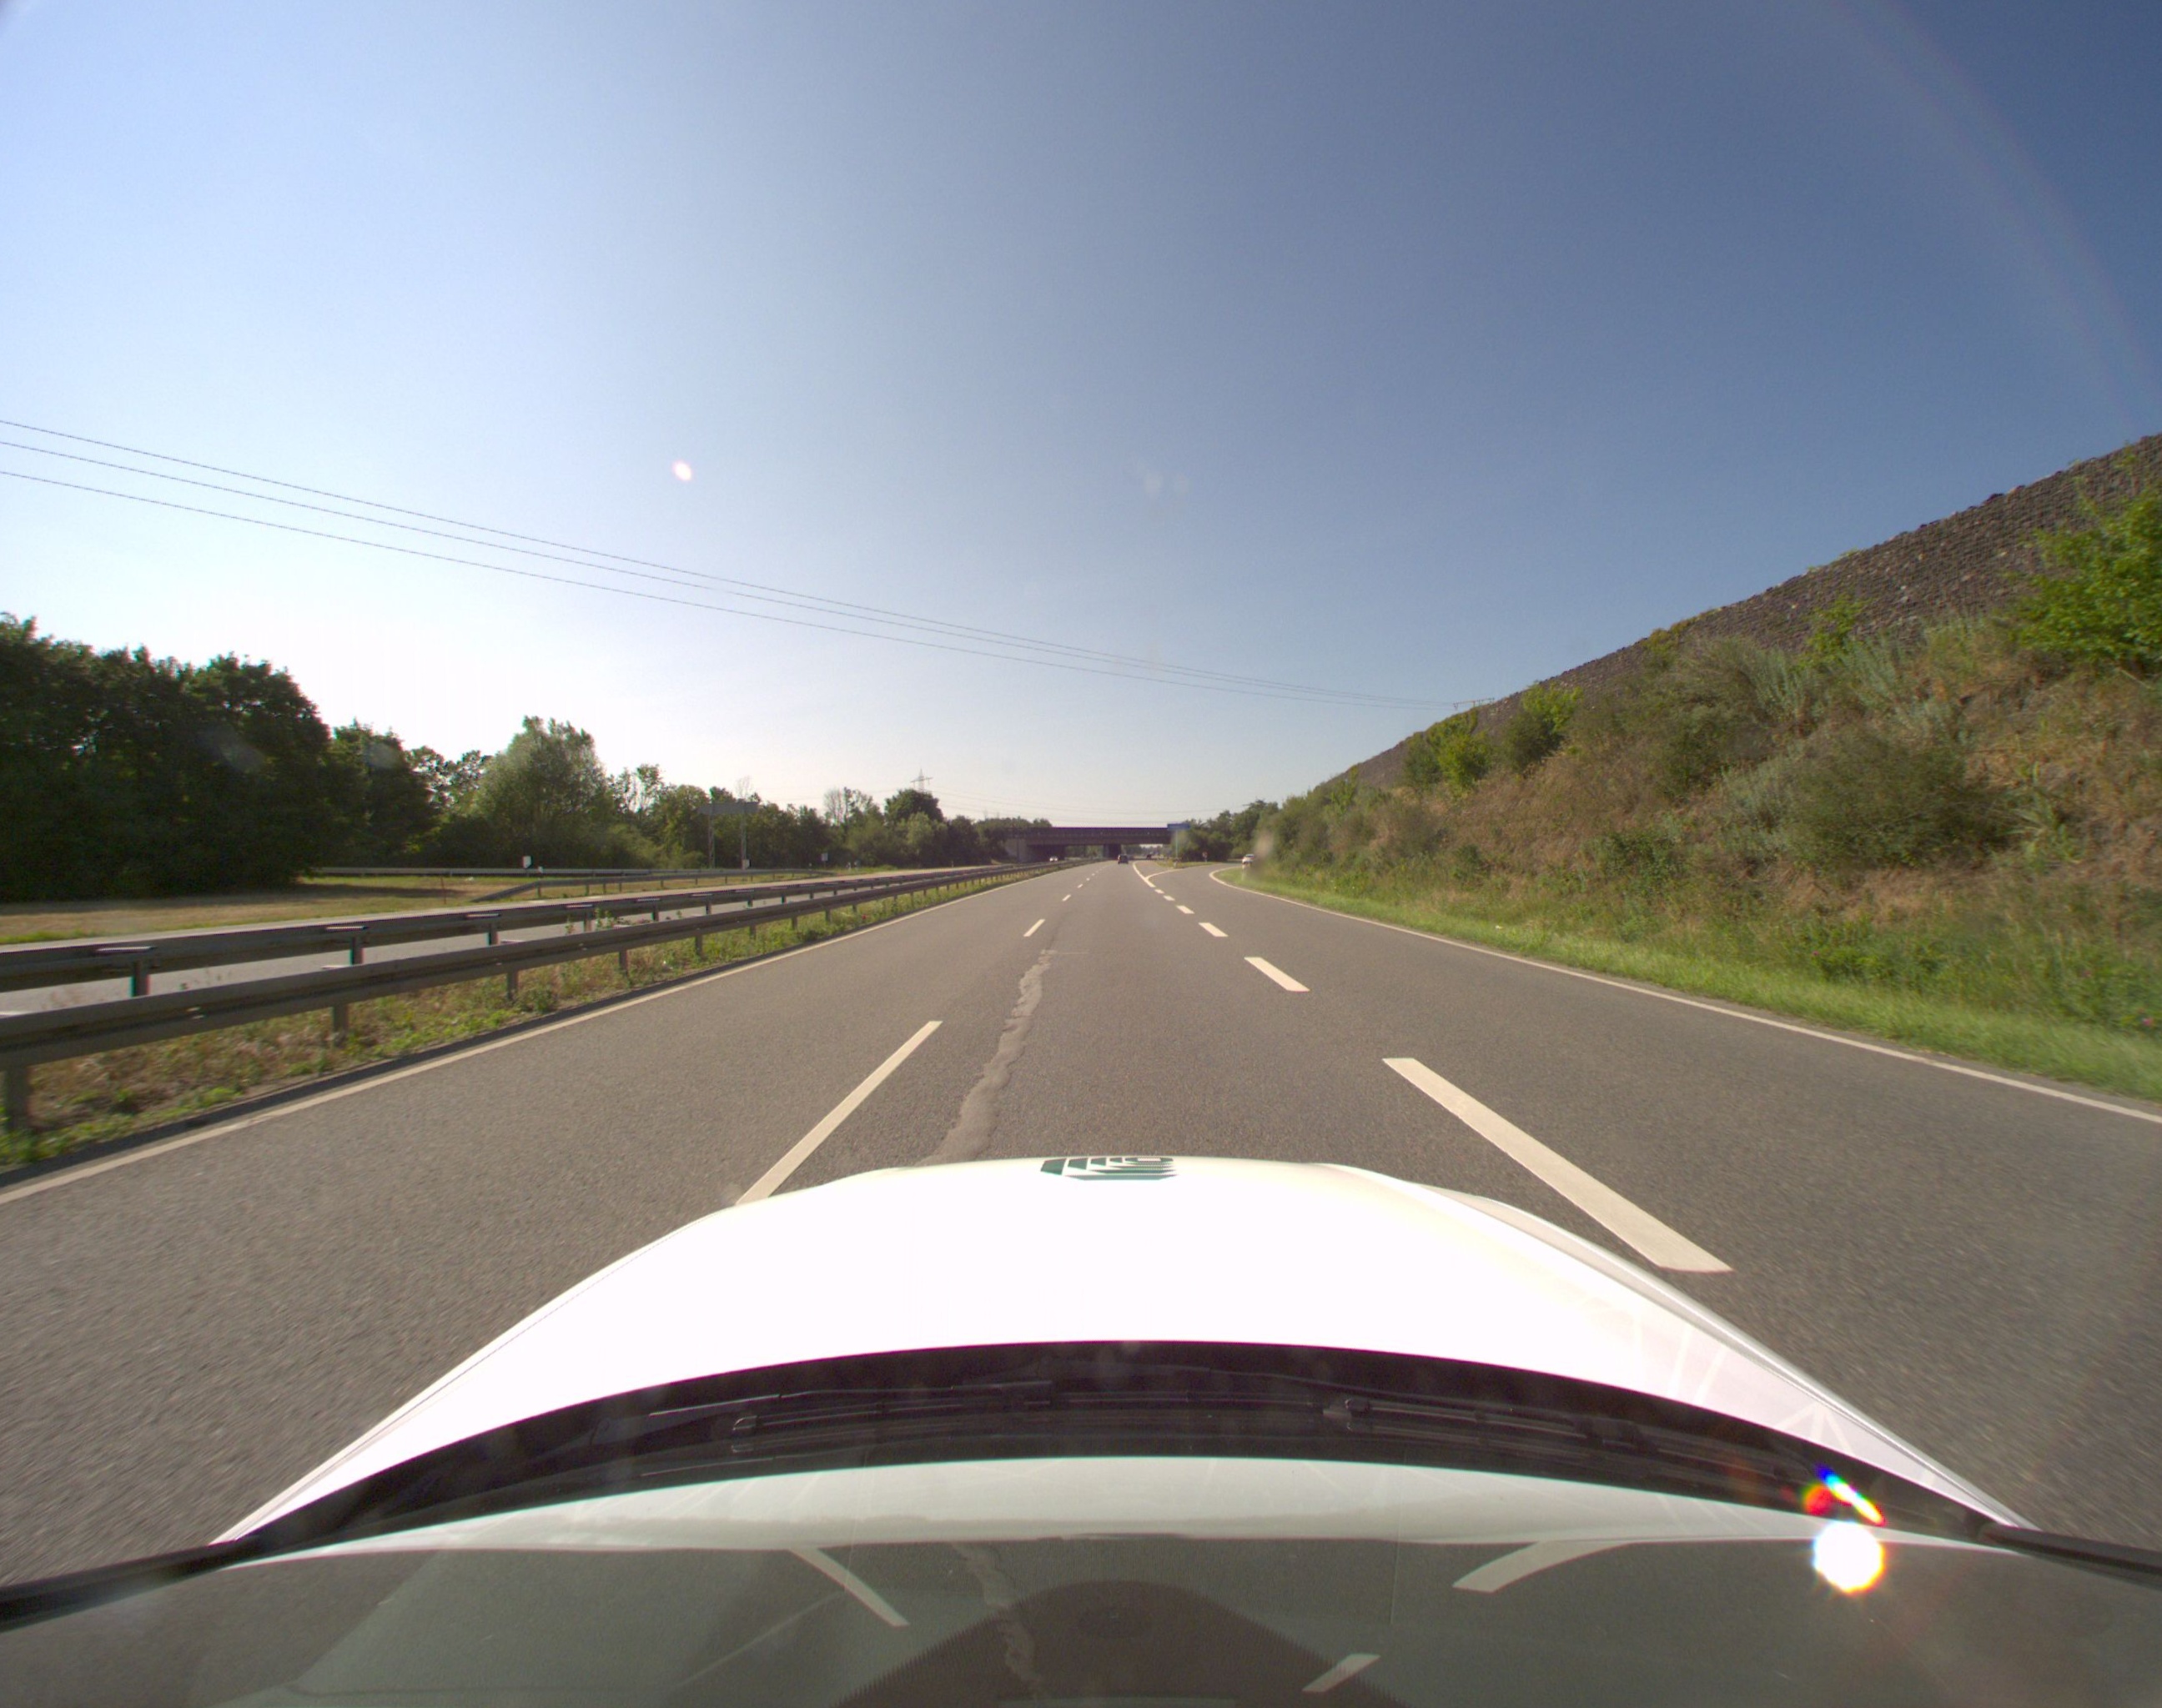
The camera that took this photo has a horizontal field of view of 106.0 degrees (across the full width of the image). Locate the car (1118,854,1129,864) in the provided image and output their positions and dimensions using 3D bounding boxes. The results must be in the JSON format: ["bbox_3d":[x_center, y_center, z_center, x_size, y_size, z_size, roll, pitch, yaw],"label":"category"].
[{"bbox_3d":[7.292,0.824,140.058,1.841,1.644,4.004,0,0,4],"label":"car"}]

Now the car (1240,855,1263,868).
[{"bbox_3d":[24.307,1.076,115.891,1.779,1.665,4.025,2,0,35],"label":"car"}]

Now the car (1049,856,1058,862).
[{"bbox_3d":[-6.876,1.192,203.466,1.667,1.410,3.766,1,0,3],"label":"car"}]

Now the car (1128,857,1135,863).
[{"bbox_3d":[12.952,1.591,208.228,1.841,1.644,4.004,0,0,4],"label":"car"}]
